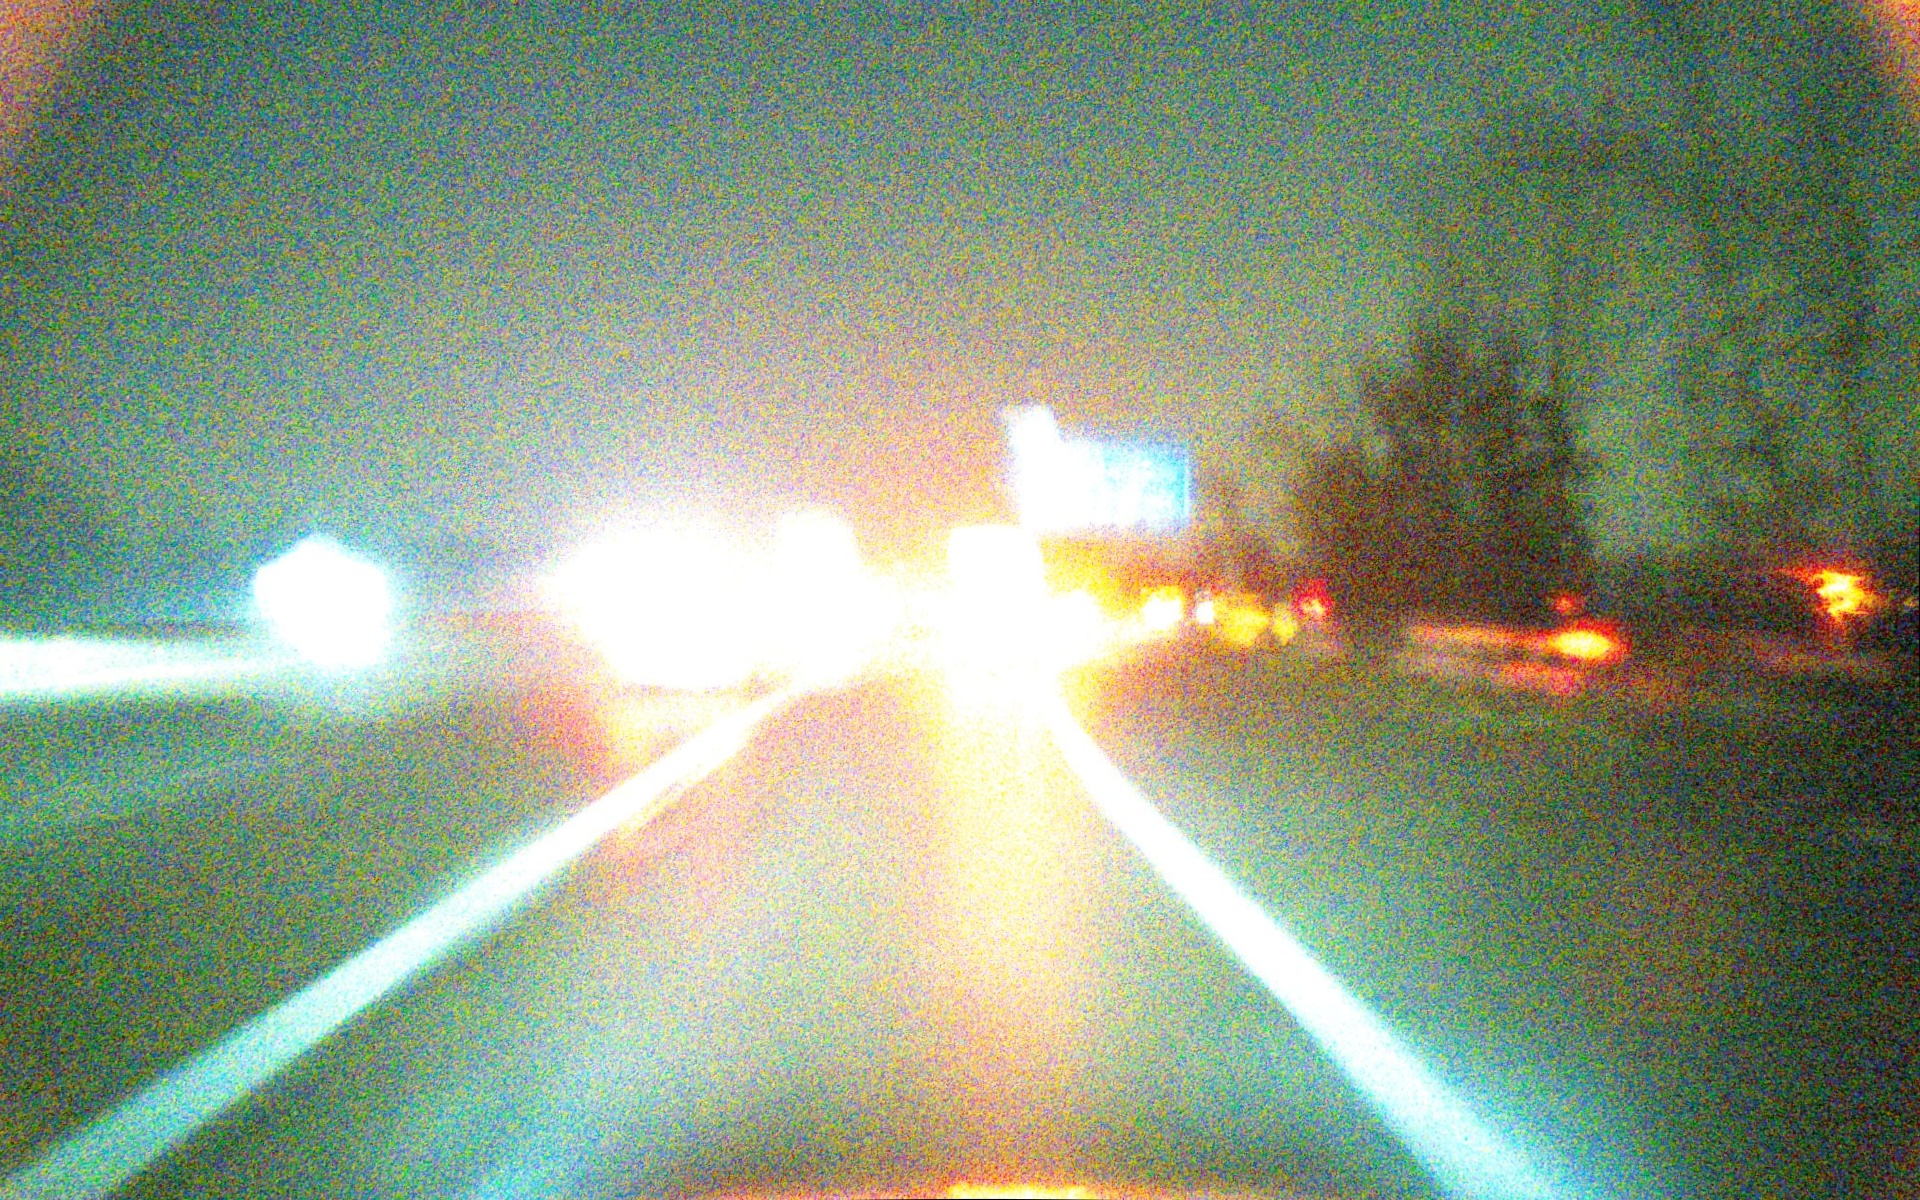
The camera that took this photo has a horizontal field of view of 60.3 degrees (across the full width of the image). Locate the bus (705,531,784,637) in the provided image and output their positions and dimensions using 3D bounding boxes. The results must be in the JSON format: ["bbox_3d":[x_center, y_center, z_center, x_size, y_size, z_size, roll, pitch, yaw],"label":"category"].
[{"bbox_3d":[-10.000,-0.681,77.764,3.036,4.587,10.902,1,0,-5],"label":"bus"}]

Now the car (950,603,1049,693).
[{"bbox_3d":[0.808,1.009,36.428,1.953,1.839,3.999,1,0,-1],"label":"car"}]

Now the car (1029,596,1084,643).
[{"bbox_3d":[3.945,0.787,68.183,1.953,1.839,3.999,1,0,-1],"label":"car"}]

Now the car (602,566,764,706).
[{"bbox_3d":[-4.387,0.543,26.883,2.084,2.049,4.642,1,0,-4],"label":"car"}]

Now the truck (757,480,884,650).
[{"bbox_3d":[-5.063,-1.179,62.664,4.125,5.747,11.462,1,0,-2],"label":"truck"}]
